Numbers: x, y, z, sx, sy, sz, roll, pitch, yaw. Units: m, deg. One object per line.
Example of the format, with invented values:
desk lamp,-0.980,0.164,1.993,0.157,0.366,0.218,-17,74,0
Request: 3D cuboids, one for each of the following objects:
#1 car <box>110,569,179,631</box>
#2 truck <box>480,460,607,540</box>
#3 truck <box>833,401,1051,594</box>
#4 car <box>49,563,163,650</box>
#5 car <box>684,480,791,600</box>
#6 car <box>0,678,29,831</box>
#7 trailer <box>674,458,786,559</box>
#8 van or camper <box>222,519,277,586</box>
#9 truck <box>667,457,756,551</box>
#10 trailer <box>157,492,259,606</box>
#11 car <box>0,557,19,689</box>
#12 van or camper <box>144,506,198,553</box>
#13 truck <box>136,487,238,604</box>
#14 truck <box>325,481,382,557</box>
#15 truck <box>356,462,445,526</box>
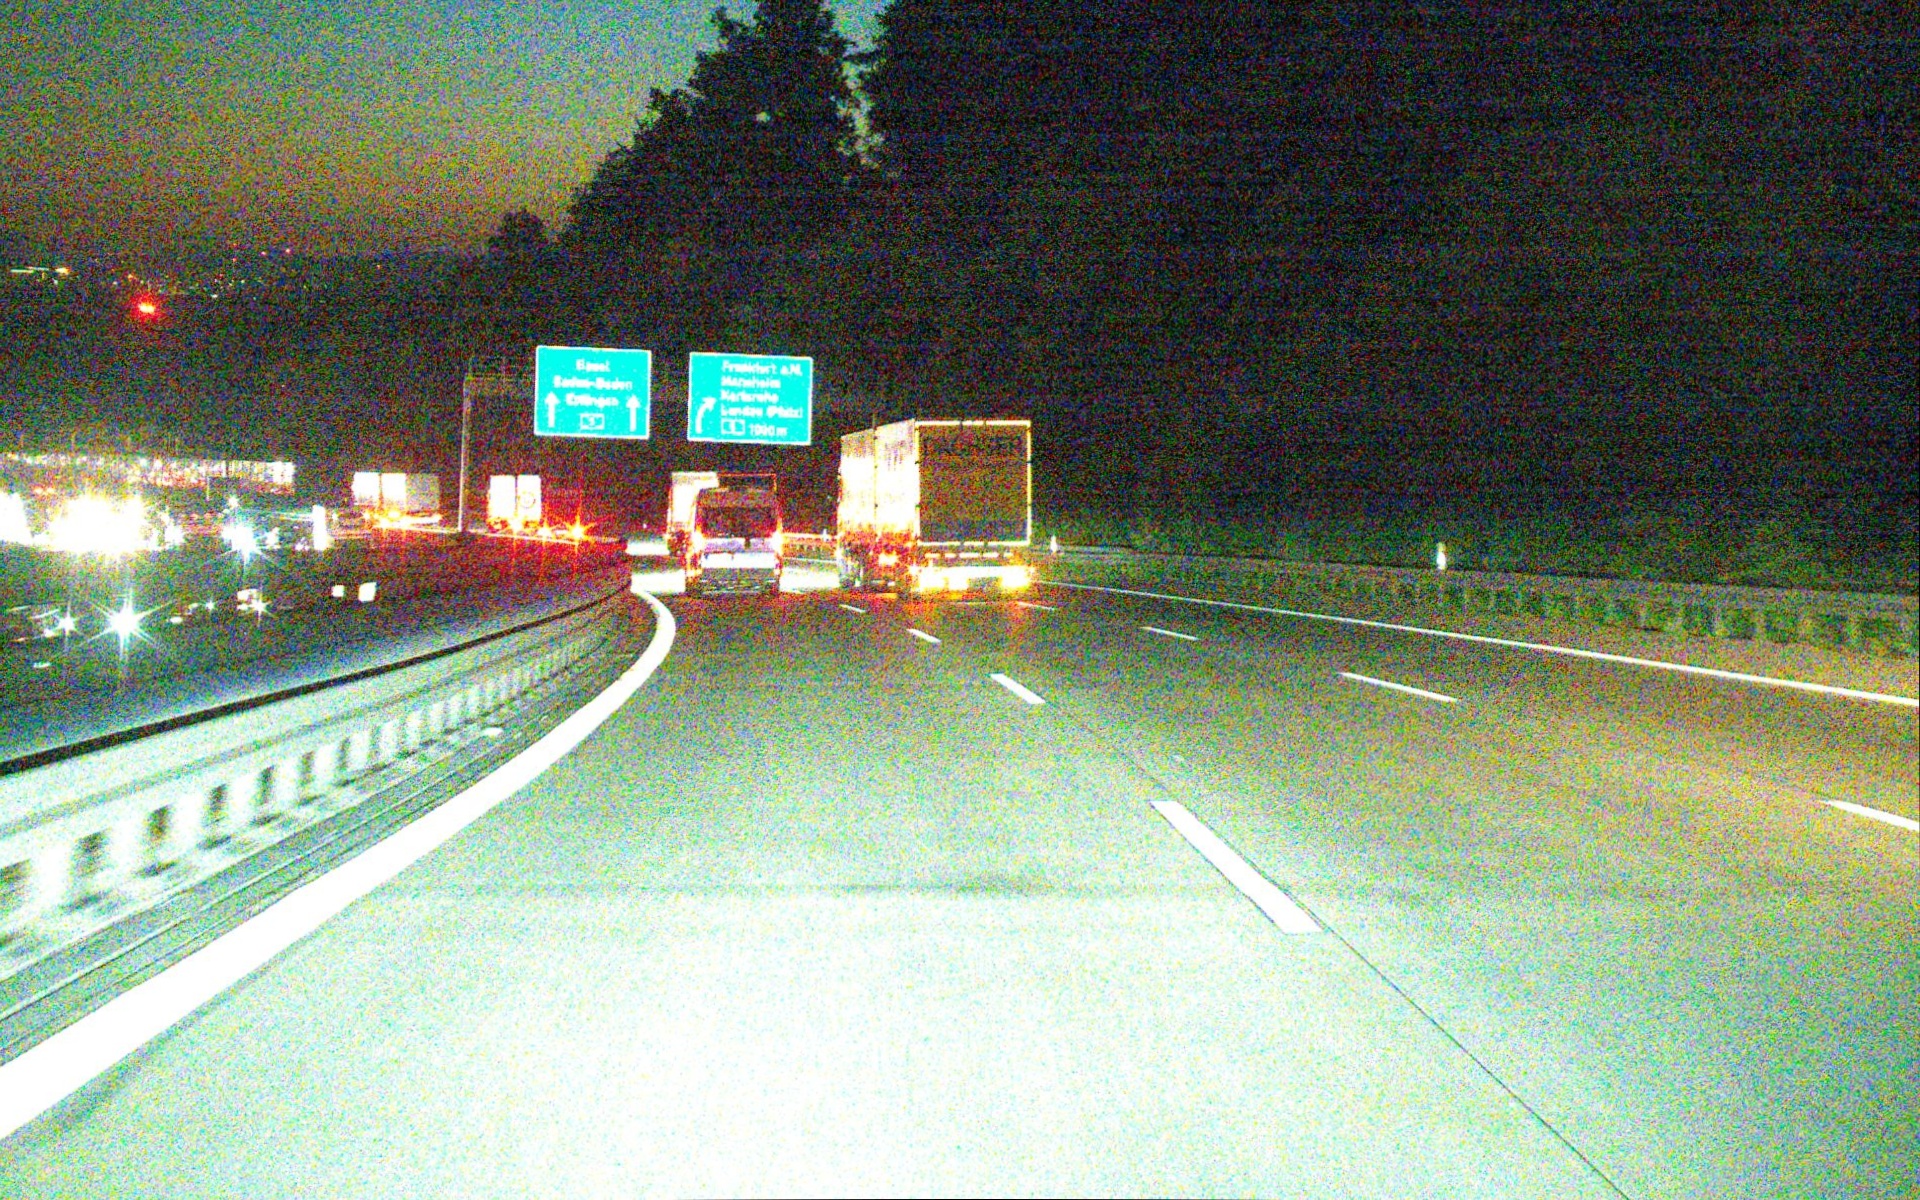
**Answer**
car,-20.778,-0.029,87.520,1.600,1.437,4.001,-2,2,-14
truck,-26.339,-6.385,215.928,3.914,4.611,21.027,1,2,-18
truck,-0.726,-2.376,82.815,3.481,4.120,18.713,0,1,-6
car,-22.178,0.145,89.434,2.139,2.047,5.114,-2,2,-6
car,-5.197,-1.405,80.160,2.337,2.631,5.248,2,1,-4
car,-10.701,1.651,34.850,1.816,1.464,4.280,-1,2,-7
trailer,-10.337,-4.179,153.295,2.853,4.053,13.211,-1,4,-13
van or camper,-32.952,-2.242,159.285,1.833,2.961,6.402,-2,2,-17
truck,-11.472,-4.462,158.252,2.861,4.062,7.514,-1,4,-13
trailer,-29.773,-2.104,136.613,3.435,4.226,12.836,-2,2,-11
car,-18.760,0.457,62.593,2.027,2.433,5.696,0,1,-4
van or camper,-48.301,-4.347,210.311,2.444,2.751,6.491,-2,2,-19
truck,-29.329,-2.093,130.631,3.417,4.208,6.285,-2,2,-11
truck,-29.549,-3.916,167.309,2.654,3.578,8.553,0,1,-10
truck,-41.621,-7.923,255.253,3.343,4.460,13.914,1,2,-22
